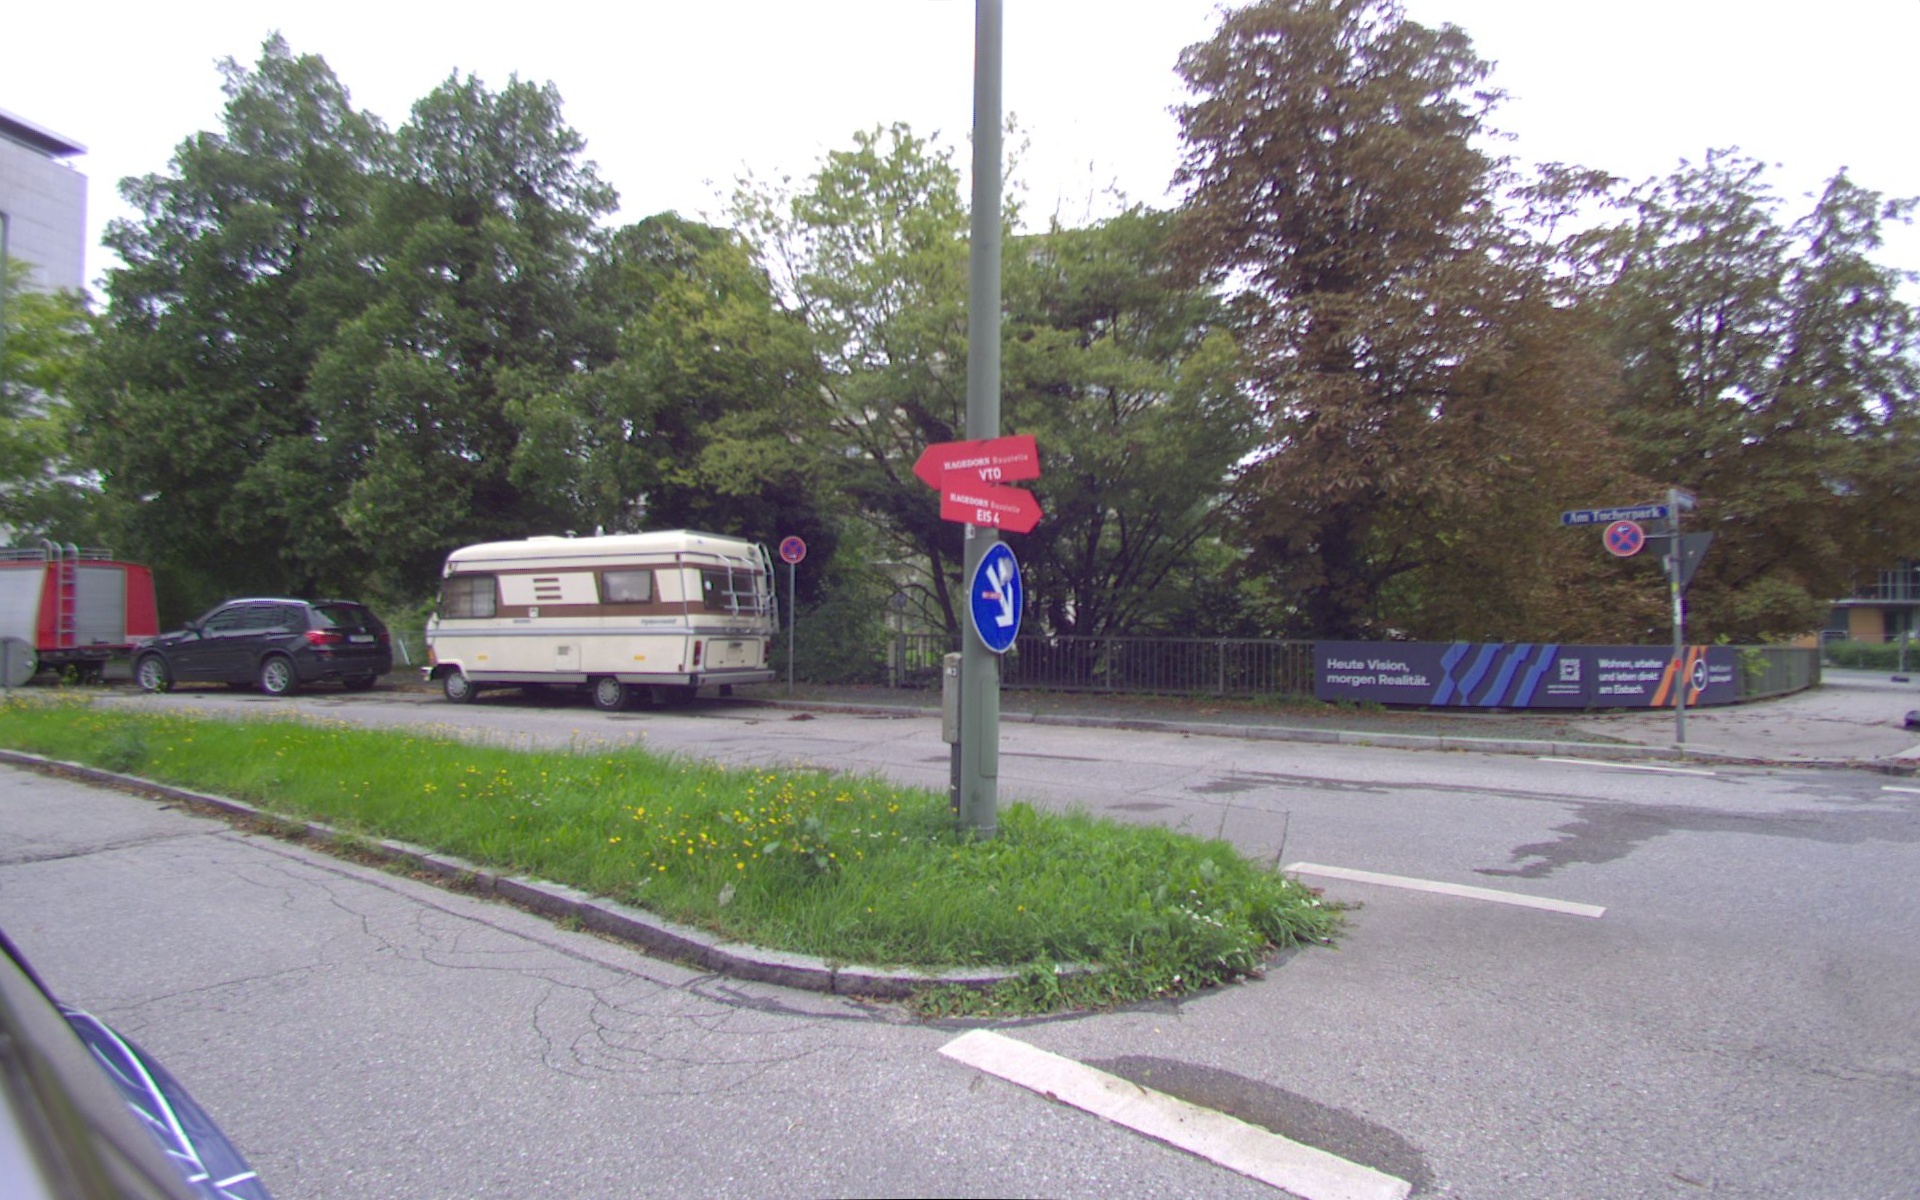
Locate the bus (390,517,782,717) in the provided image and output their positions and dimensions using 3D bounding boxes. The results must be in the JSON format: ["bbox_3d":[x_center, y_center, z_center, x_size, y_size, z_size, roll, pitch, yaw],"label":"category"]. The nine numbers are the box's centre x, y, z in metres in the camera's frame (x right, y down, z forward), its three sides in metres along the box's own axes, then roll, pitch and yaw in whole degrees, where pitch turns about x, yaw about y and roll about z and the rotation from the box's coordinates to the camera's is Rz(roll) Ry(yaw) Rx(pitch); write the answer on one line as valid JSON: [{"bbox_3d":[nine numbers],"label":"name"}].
[{"bbox_3d":[-5.867,0.278,15.906,5.695,2.719,2.305,0,-2,22],"label":"bus"}]

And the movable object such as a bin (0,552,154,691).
[{"bbox_3d":[-19.286,0.411,19.966,6.131,2.477,2.100,0,-2,16],"label":"movable object such as a bin"}]

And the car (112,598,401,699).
[{"bbox_3d":[-12.559,0.830,18.140,4.417,1.662,1.774,0,-2,14],"label":"car"}]
